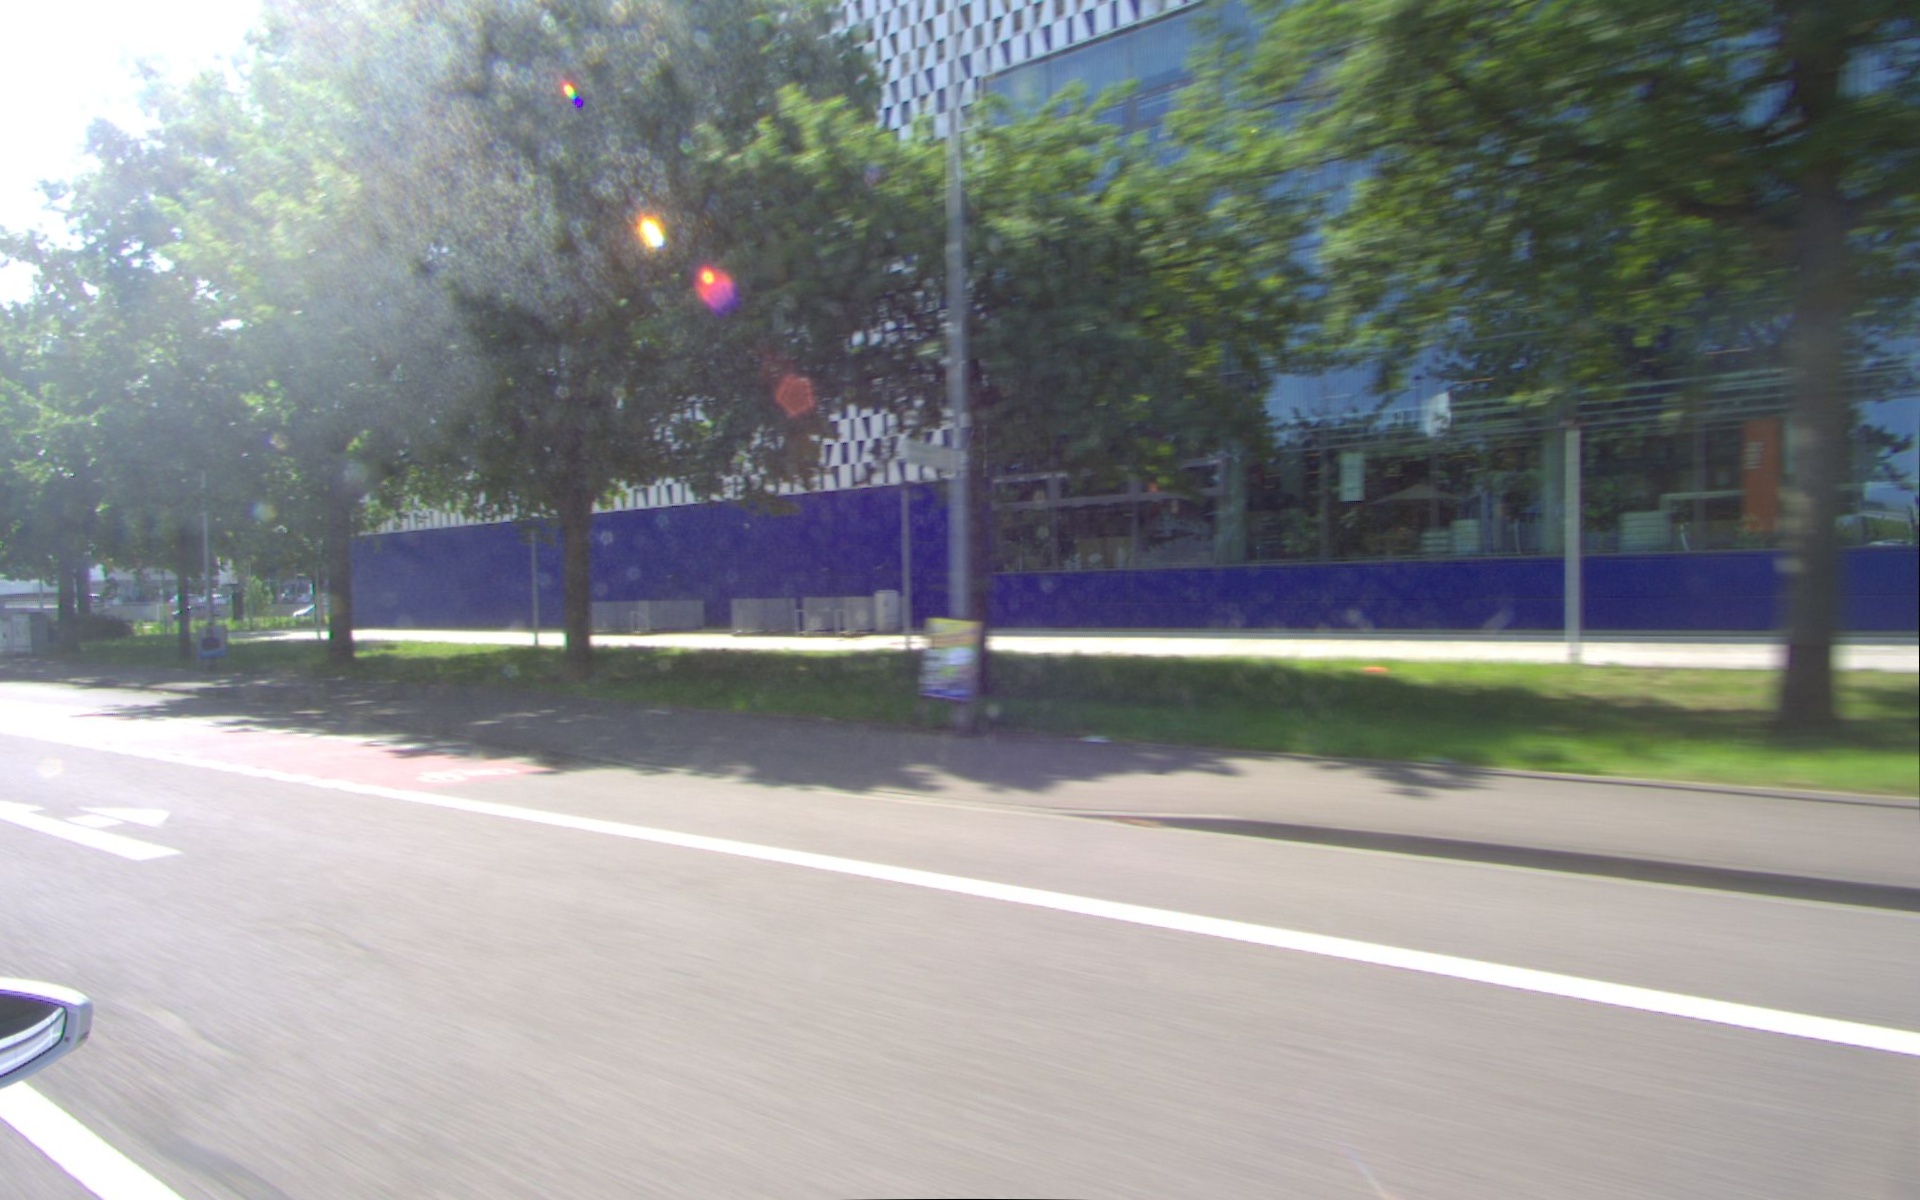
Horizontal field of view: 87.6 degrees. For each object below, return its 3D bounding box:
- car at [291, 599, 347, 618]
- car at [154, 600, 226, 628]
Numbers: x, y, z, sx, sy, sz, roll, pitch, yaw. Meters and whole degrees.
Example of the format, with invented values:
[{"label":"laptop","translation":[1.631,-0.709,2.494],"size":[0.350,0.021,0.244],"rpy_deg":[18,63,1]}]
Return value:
[{"label":"car","translation":[-60.698,0.836,94.842],"size":[1.462,1.540,4.115],"rpy_deg":[0,3,37]},{"label":"car","translation":[-63.208,1.117,82.275],"size":[1.462,2.022,4.383],"rpy_deg":[0,3,37]}]
